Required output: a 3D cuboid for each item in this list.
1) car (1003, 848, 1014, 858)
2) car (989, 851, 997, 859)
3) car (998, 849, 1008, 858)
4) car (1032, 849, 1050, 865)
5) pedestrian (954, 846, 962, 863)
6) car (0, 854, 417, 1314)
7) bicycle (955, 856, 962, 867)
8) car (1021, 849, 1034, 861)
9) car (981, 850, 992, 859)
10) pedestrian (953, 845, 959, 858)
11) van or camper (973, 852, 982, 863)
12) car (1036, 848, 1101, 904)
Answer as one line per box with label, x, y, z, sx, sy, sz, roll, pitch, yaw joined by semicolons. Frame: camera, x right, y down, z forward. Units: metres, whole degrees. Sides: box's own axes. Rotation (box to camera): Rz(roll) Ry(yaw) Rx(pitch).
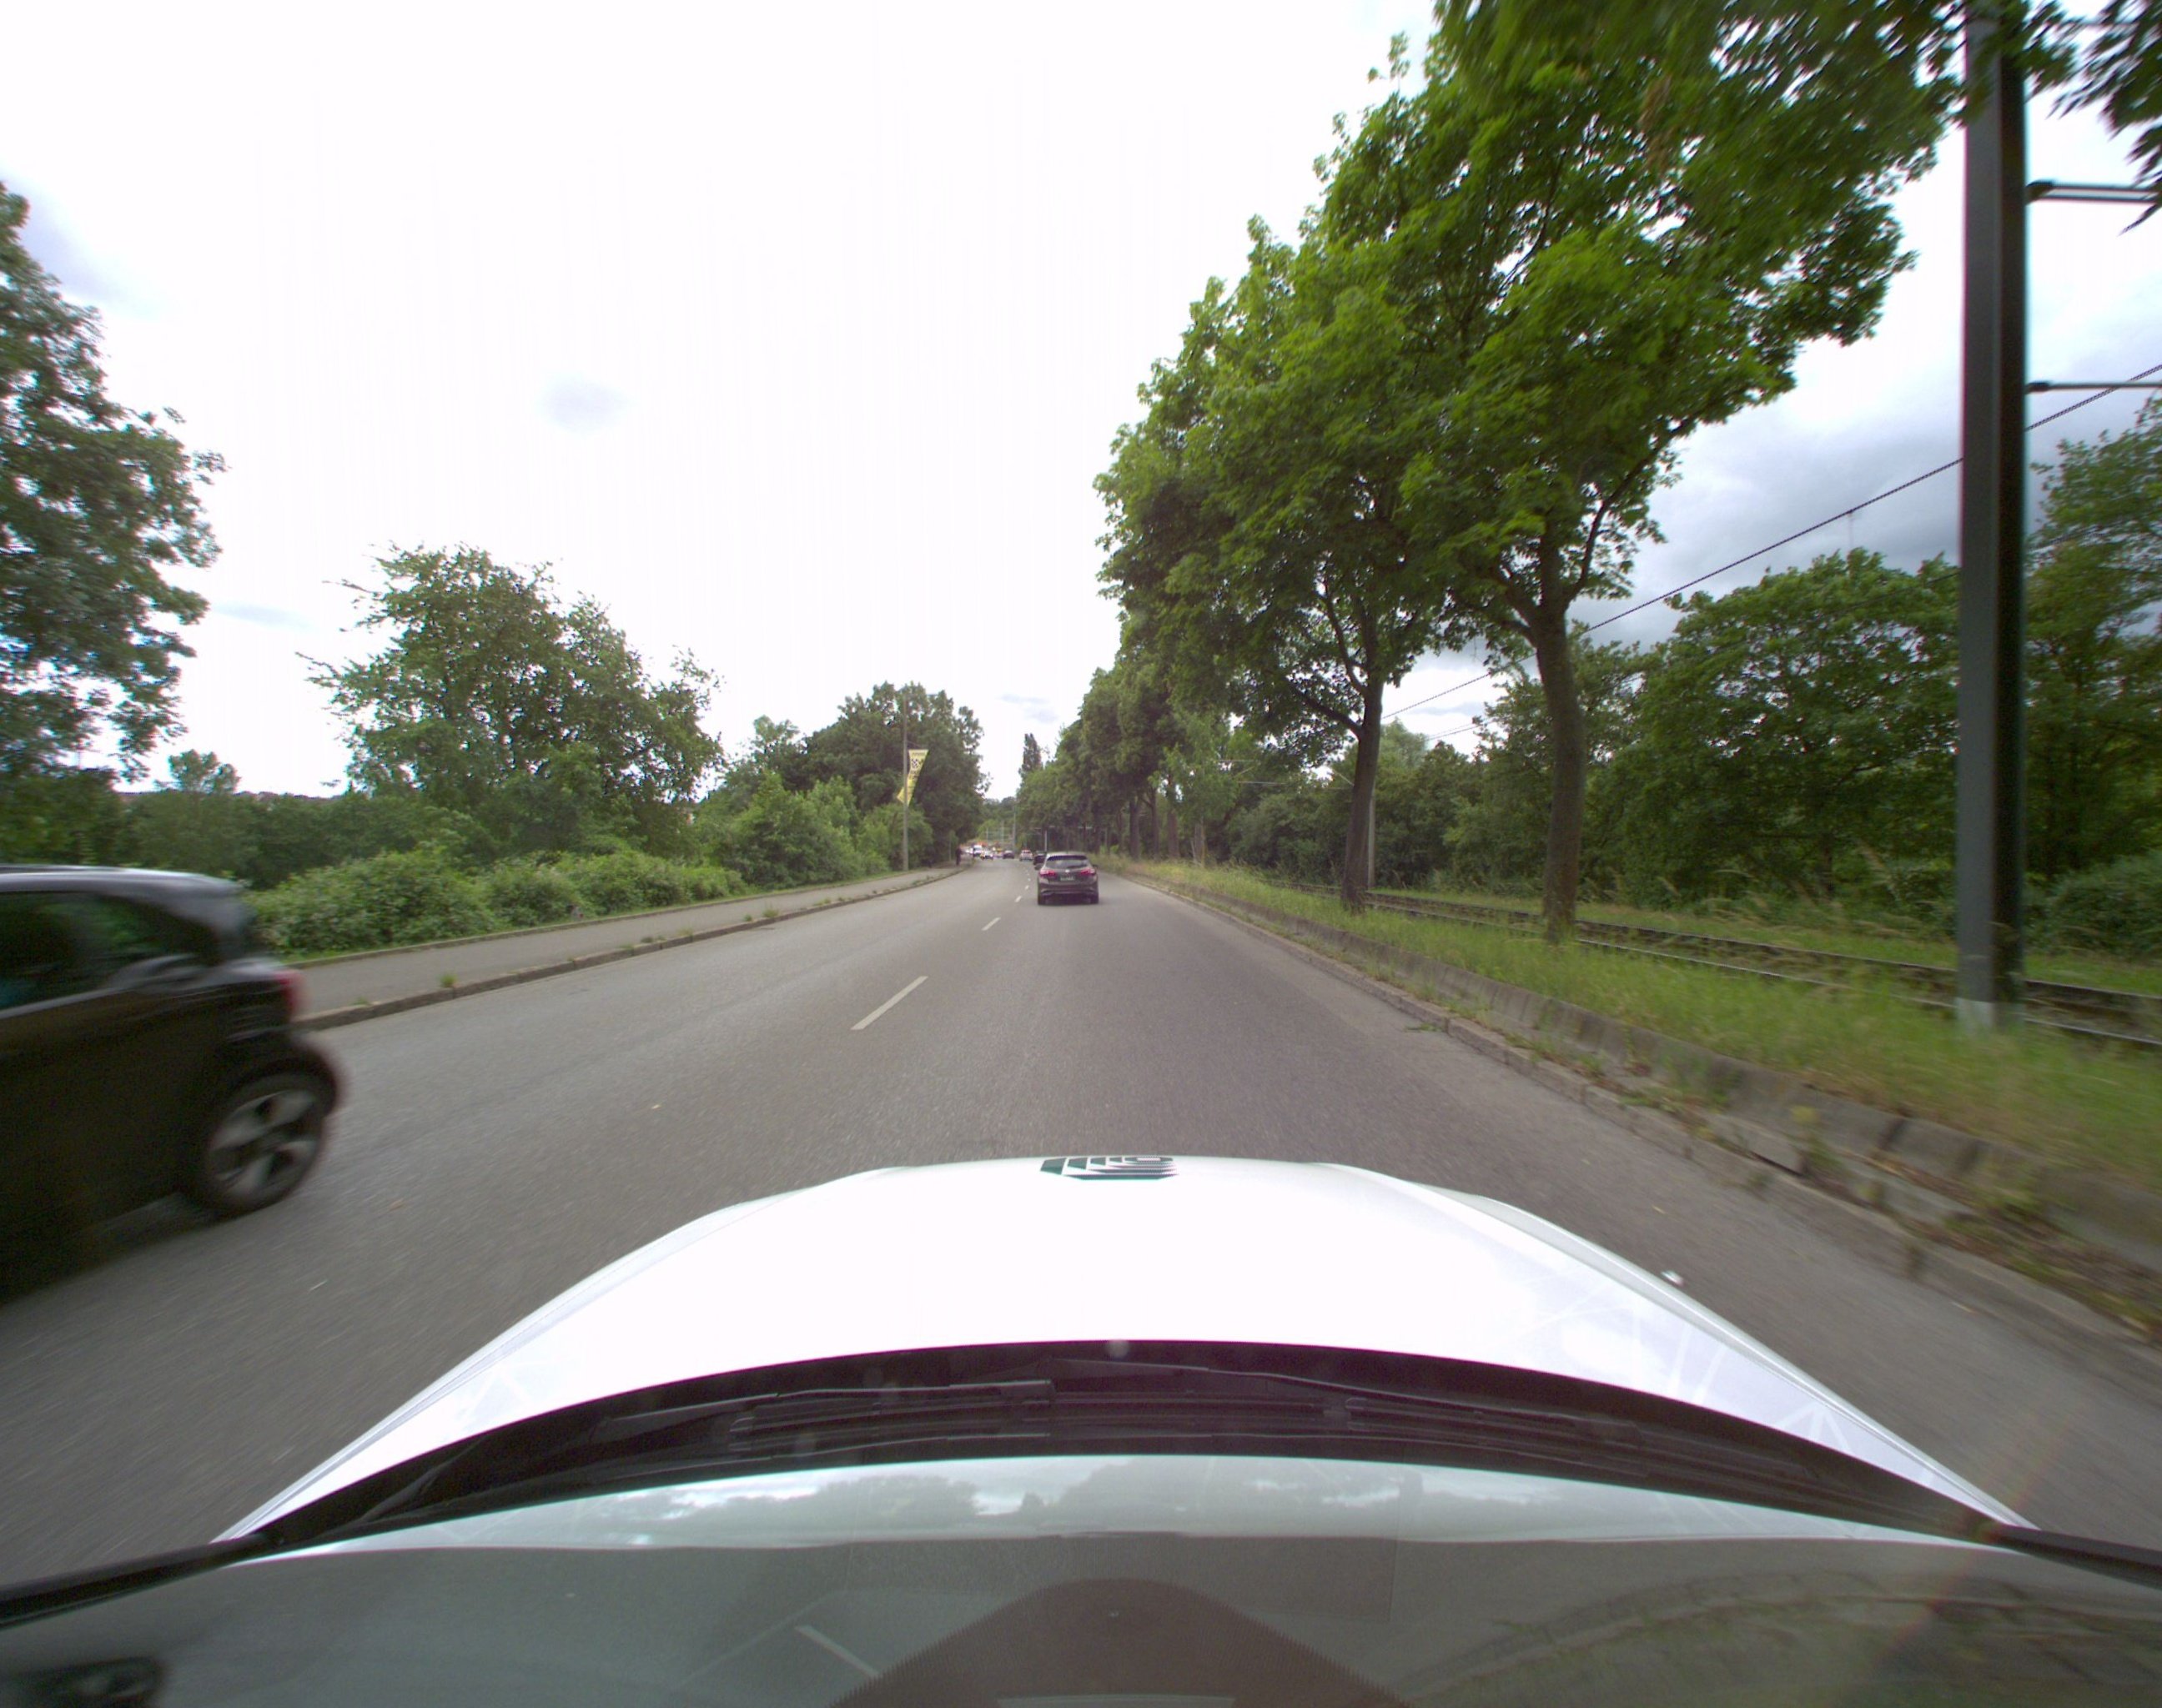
car;-12.670;-0.174;142.563;1.773;1.472;3.993;2;1;-5
car;-19.269;0.216;178.381;1.773;1.472;3.993;2;1;-5
car;-15.027;-0.123;156.492;1.773;1.472;3.993;1;1;-5
car;-4.131;0.281;85.328;1.771;1.472;3.997;2;1;-2
pedestrian;-11.666;0.039;77.501;0.616;1.571;0.848;2;1;-3
car;-4.338;0.762;2.819;1.591;1.506;3.027;-1;0;-1
bicycle;-11.676;0.715;77.538;0.487;1.030;1.123;2;1;-3
car;-7.583;0.128;114.675;1.773;1.472;3.994;2;1;-5
car;-15.665;0.047;134.936;1.746;1.464;3.913;1;0;-5
pedestrian;-16.468;-0.322;107.239;0.694;1.621;0.683;2;1;-4
van or camper;-22.116;0.674;173.746;1.924;2.151;3.921;2;1;-8
car;-0.458;0.607;24.831;1.812;1.508;3.995;-1;1;-4
